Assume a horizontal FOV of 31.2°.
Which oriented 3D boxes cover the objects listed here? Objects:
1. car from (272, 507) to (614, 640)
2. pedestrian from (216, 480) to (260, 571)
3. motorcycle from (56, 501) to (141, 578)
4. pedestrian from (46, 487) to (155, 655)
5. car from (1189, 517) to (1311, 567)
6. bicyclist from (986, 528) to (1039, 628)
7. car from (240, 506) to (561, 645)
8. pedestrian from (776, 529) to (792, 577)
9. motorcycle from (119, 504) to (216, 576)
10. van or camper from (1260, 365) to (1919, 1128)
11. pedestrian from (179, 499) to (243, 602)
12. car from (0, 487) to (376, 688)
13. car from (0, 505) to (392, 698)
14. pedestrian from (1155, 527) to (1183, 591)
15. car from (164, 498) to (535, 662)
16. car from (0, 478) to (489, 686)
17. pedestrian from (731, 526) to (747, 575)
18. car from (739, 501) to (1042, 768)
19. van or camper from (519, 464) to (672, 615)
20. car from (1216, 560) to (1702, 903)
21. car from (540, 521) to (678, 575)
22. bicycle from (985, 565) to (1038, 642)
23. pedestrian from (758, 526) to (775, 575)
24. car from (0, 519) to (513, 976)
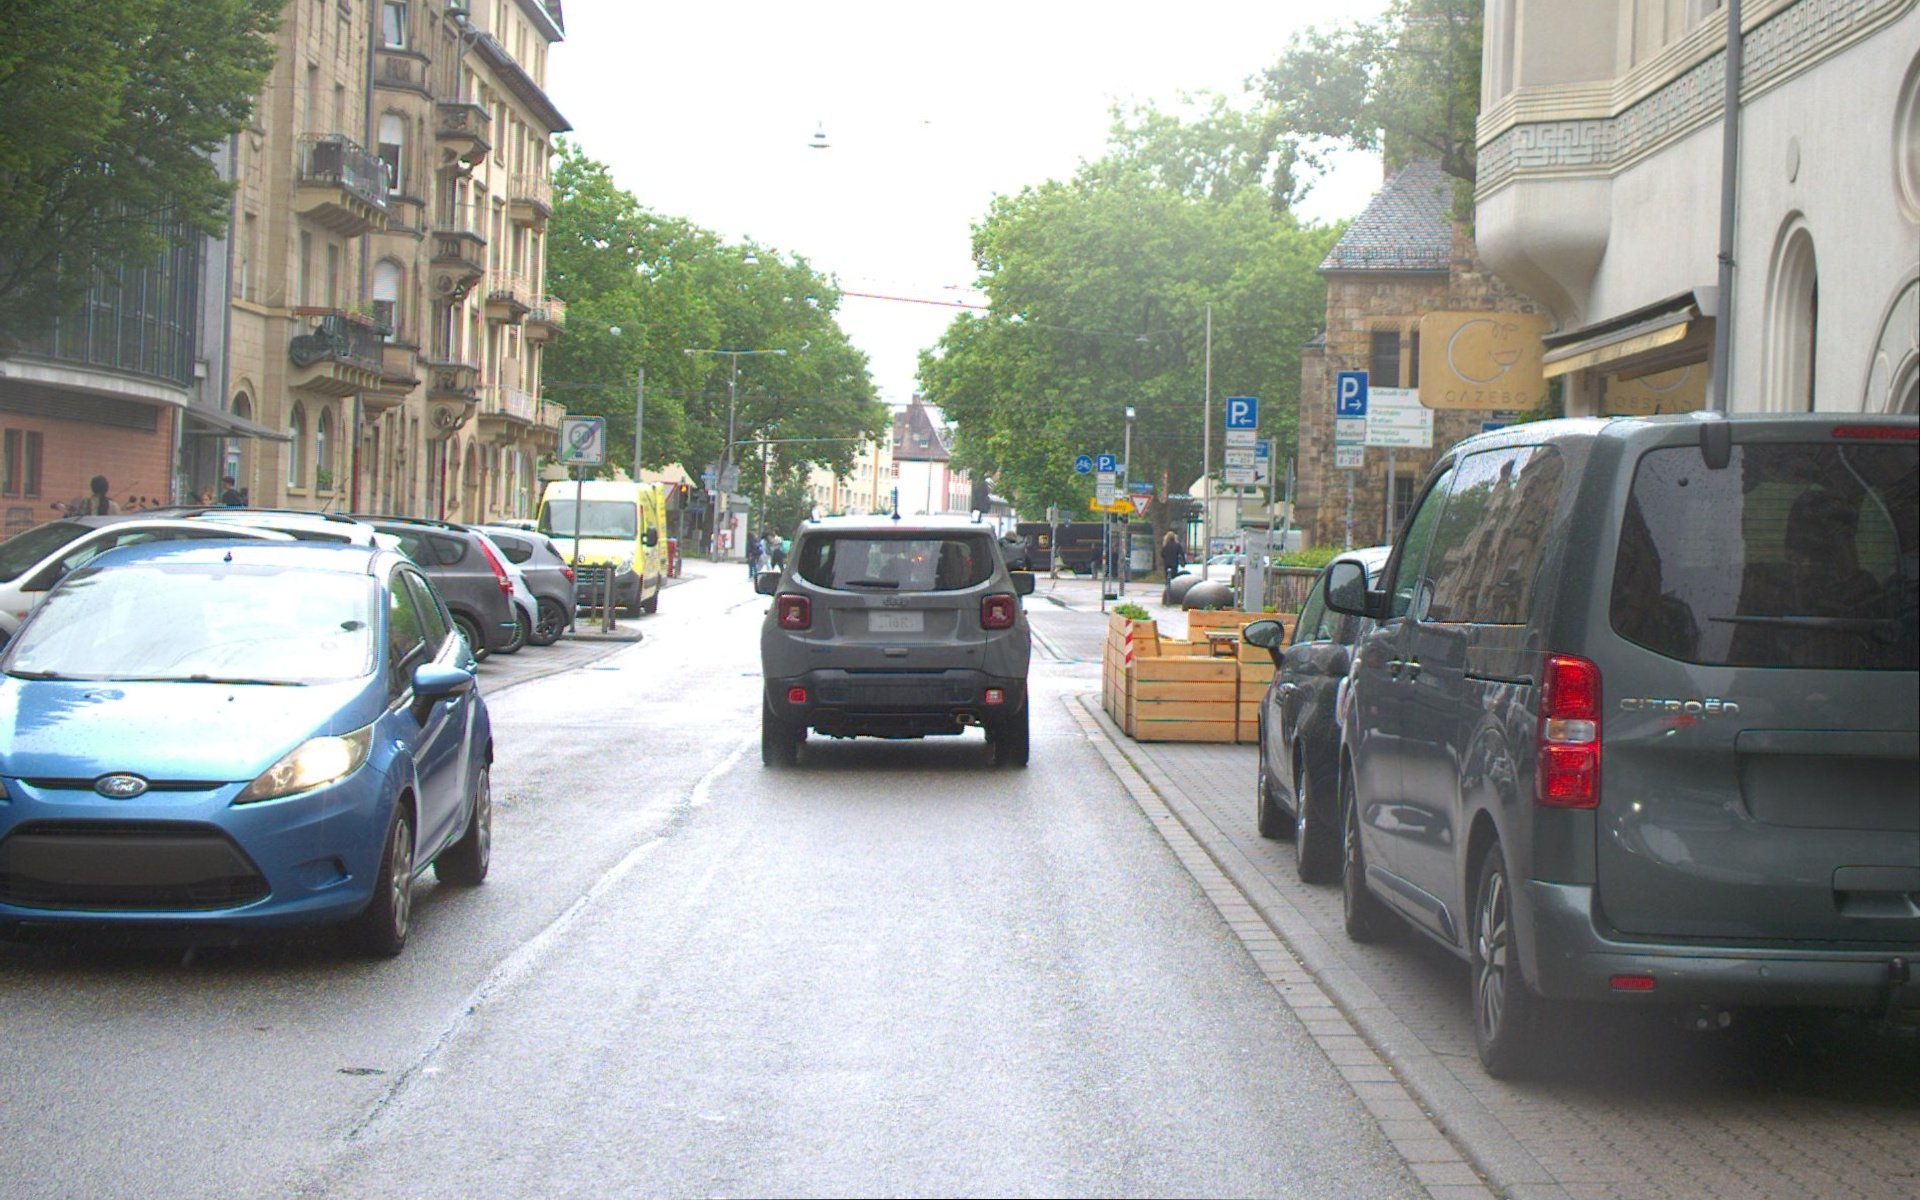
[{"bbox_3d":[-6.639,-0.338,44.160,3.818,1.502,1.989,2,1,-30],"label":"car"},{"bbox_3d":[-14.011,-1.449,66.709,0.660,1.751,0.797,1,1,-24],"label":"pedestrian"},{"bbox_3d":[-13.893,-0.979,55.476,0.753,1.170,2.116,5,1,0],"label":"motorcycle"},{"bbox_3d":[-9.348,-0.318,37.404,0.825,1.746,0.757,5,1,7],"label":"pedestrian"},{"bbox_3d":[14.270,-2.880,169.594,5.905,2.326,2.059,1,1,4],"label":"car"},{"bbox_3d":[0.741,-0.326,49.045,0.705,1.399,1.171,1,1,0],"label":"bicyclist"},{"bbox_3d":[-6.728,-0.287,41.376,3.375,1.502,1.681,2,1,-30],"label":"car"},{"bbox_3d":[-5.796,-1.548,113.214,0.467,1.580,0.752,2,1,-1],"label":"pedestrian"},{"bbox_3d":[-13.762,-1.036,59.751,0.754,1.170,2.114,5,1,12],"label":"motorcycle"},{"bbox_3d":[2.244,0.324,11.102,2.021,1.884,5.055,1,1,-1],"label":"van or camper"},{"bbox_3d":[-11.689,-0.773,53.682,0.709,1.546,0.607,5,1,7],"label":"pedestrian"},{"bbox_3d":[-6.954,-0.113,29.697,3.375,1.648,1.634,0,1,-33],"label":"car"},{"bbox_3d":[-6.556,-0.005,27.157,3.702,1.447,1.685,0,1,-35],"label":"car"},{"bbox_3d":[5.613,-1.113,92.326,0.690,1.705,0.684,1,1,0],"label":"pedestrian"},{"bbox_3d":[-6.354,-0.205,35.827,3.375,1.536,1.681,2,1,-31],"label":"car"},{"bbox_3d":[-7.083,-0.157,32.590,4.510,1.534,2.338,6,-2,-33],"label":"car"},{"bbox_3d":[-7.186,-1.615,111.871,0.467,1.580,0.659,2,1,-1],"label":"pedestrian"},{"bbox_3d":[-0.499,0.184,24.289,1.898,1.665,4.506,2,1,-1],"label":"car"},{"bbox_3d":[-6.697,-1.054,63.814,2.121,2.522,6.875,-2,-1,-1],"label":"van or camper"},{"bbox_3d":[2.255,0.537,16.445,1.710,1.396,3.705,1,1,-1],"label":"car"},{"bbox_3d":[-9.997,-1.479,98.036,3.413,1.311,1.779,3,0,-33],"label":"car"},{"bbox_3d":[0.730,0.037,49.051,0.705,1.050,1.813,1,1,0],"label":"bicycle"},{"bbox_3d":[-6.332,-1.618,112.599,0.467,1.580,0.752,2,1,-1],"label":"pedestrian"},{"bbox_3d":[-2.785,0.443,13.211,1.669,1.460,4.004,2,1,-1],"label":"car"}]
